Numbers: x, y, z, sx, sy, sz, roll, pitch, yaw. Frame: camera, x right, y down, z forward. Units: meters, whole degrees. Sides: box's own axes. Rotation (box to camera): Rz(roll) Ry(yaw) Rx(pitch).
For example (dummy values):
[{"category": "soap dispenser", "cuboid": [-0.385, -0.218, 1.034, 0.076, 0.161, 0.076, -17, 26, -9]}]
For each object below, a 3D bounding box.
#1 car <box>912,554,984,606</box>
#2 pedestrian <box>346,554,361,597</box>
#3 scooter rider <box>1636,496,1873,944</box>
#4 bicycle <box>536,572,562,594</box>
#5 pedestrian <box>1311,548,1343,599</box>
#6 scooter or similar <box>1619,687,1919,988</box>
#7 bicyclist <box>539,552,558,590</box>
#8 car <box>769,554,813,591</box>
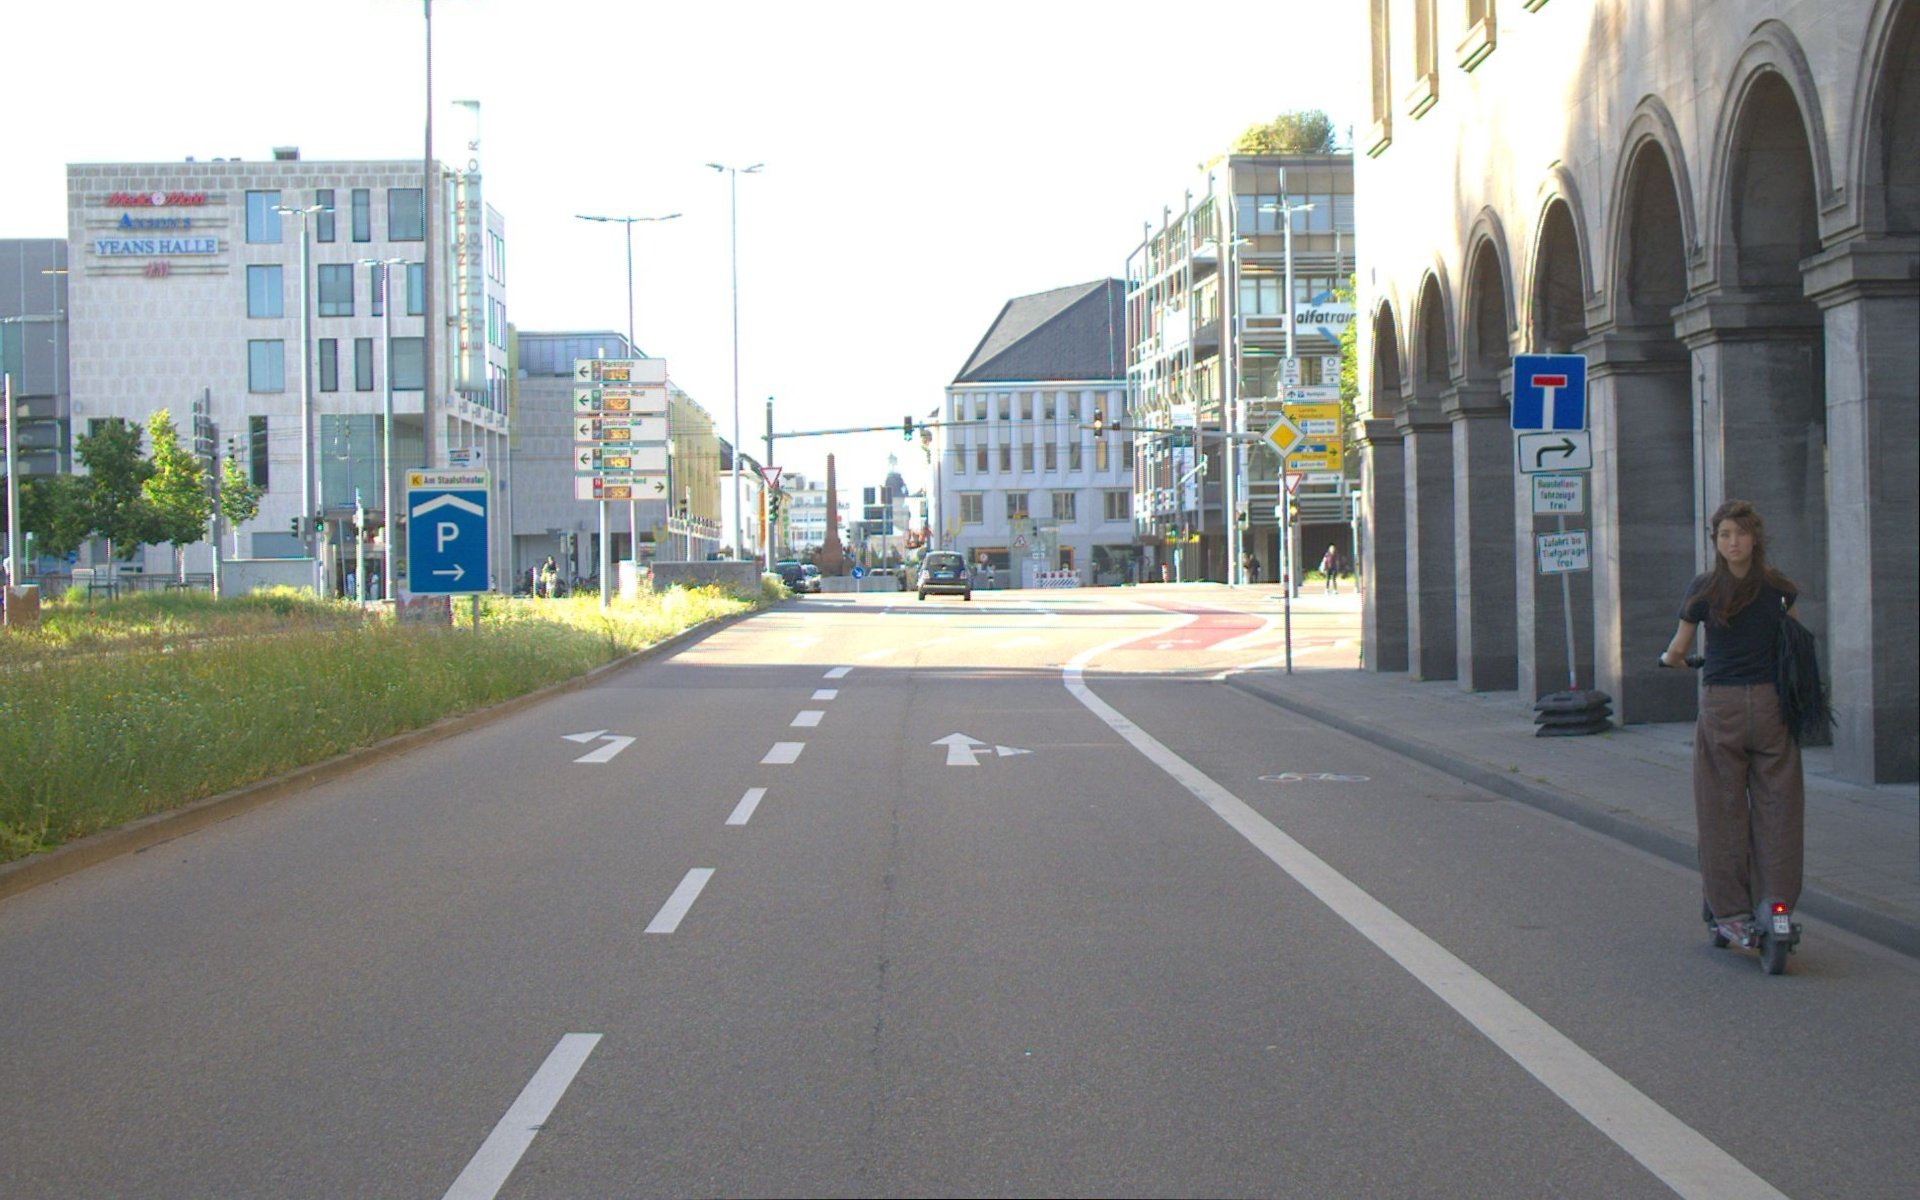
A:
[{"category": "car", "cuboid": [-0.390, -0.618, 106.019, 1.775, 1.558, 3.790, -1, 1, -7]}, {"category": "pedestrian", "cuboid": [-28.440, -1.159, 161.228, 0.622, 2.007, 0.516, -1, 1, -8]}, {"category": "scooter rider", "cuboid": [2.983, 0.434, 12.925, 0.561, 1.626, 0.650, -1, 0, -26]}, {"category": "bicycle", "cuboid": [-16.111, -0.668, 134.676, 0.612, 0.858, 1.950, -1, 1, 5]}, {"category": "pedestrian", "cuboid": [12.807, -0.924, 119.859, 0.822, 1.742, 1.040, -2, 0, 22]}, {"category": "scooter or similar", "cuboid": [3.037, 0.859, 12.833, 0.555, 1.028, 1.118, -1, 1, -27]}, {"category": "bicyclist", "cuboid": [-16.117, -1.147, 134.661, 0.607, 1.484, 0.681, -1, 1, 5]}, {"category": "car", "cuboid": [-8.511, -1.402, 173.712, 1.993, 1.736, 4.646, -1, 2, 0]}]
